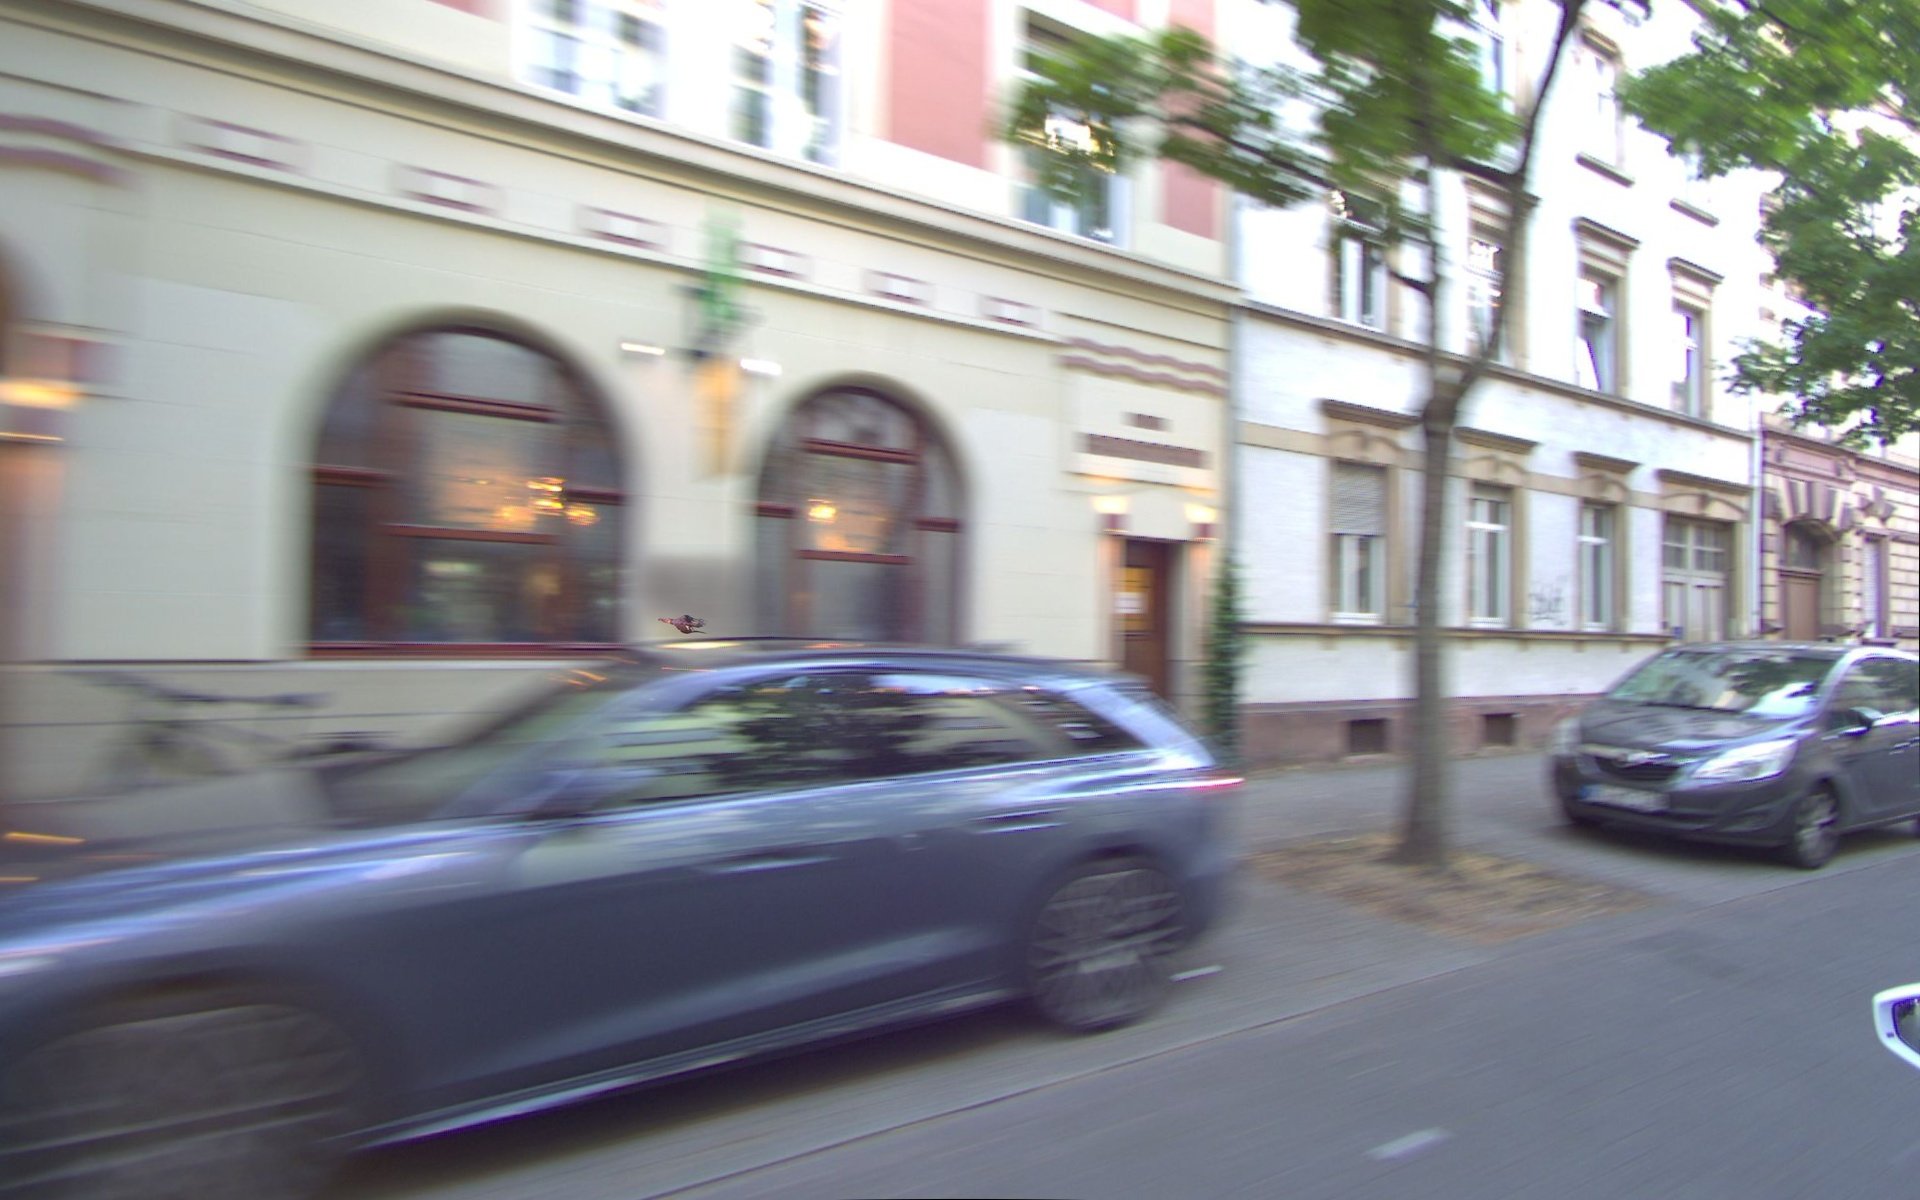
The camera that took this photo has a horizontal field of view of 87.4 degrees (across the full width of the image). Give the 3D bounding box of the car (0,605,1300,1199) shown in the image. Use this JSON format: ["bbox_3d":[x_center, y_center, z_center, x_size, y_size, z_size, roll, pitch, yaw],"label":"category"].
[{"bbox_3d":[-0.978,0.853,3.888,4.632,1.538,1.796,2,-1,-31],"label":"car"}]

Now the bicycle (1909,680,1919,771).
[{"bbox_3d":[11.918,1.515,11.504,0.655,1.099,1.829,2,-2,12],"label":"bicycle"}]

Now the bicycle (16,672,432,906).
[{"bbox_3d":[-3.971,0.971,5.602,1.774,1.112,0.523,2,-2,-31],"label":"bicycle"}]

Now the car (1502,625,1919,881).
[{"bbox_3d":[6.428,1.040,8.193,4.030,1.602,1.698,1,-1,-30],"label":"car"}]
